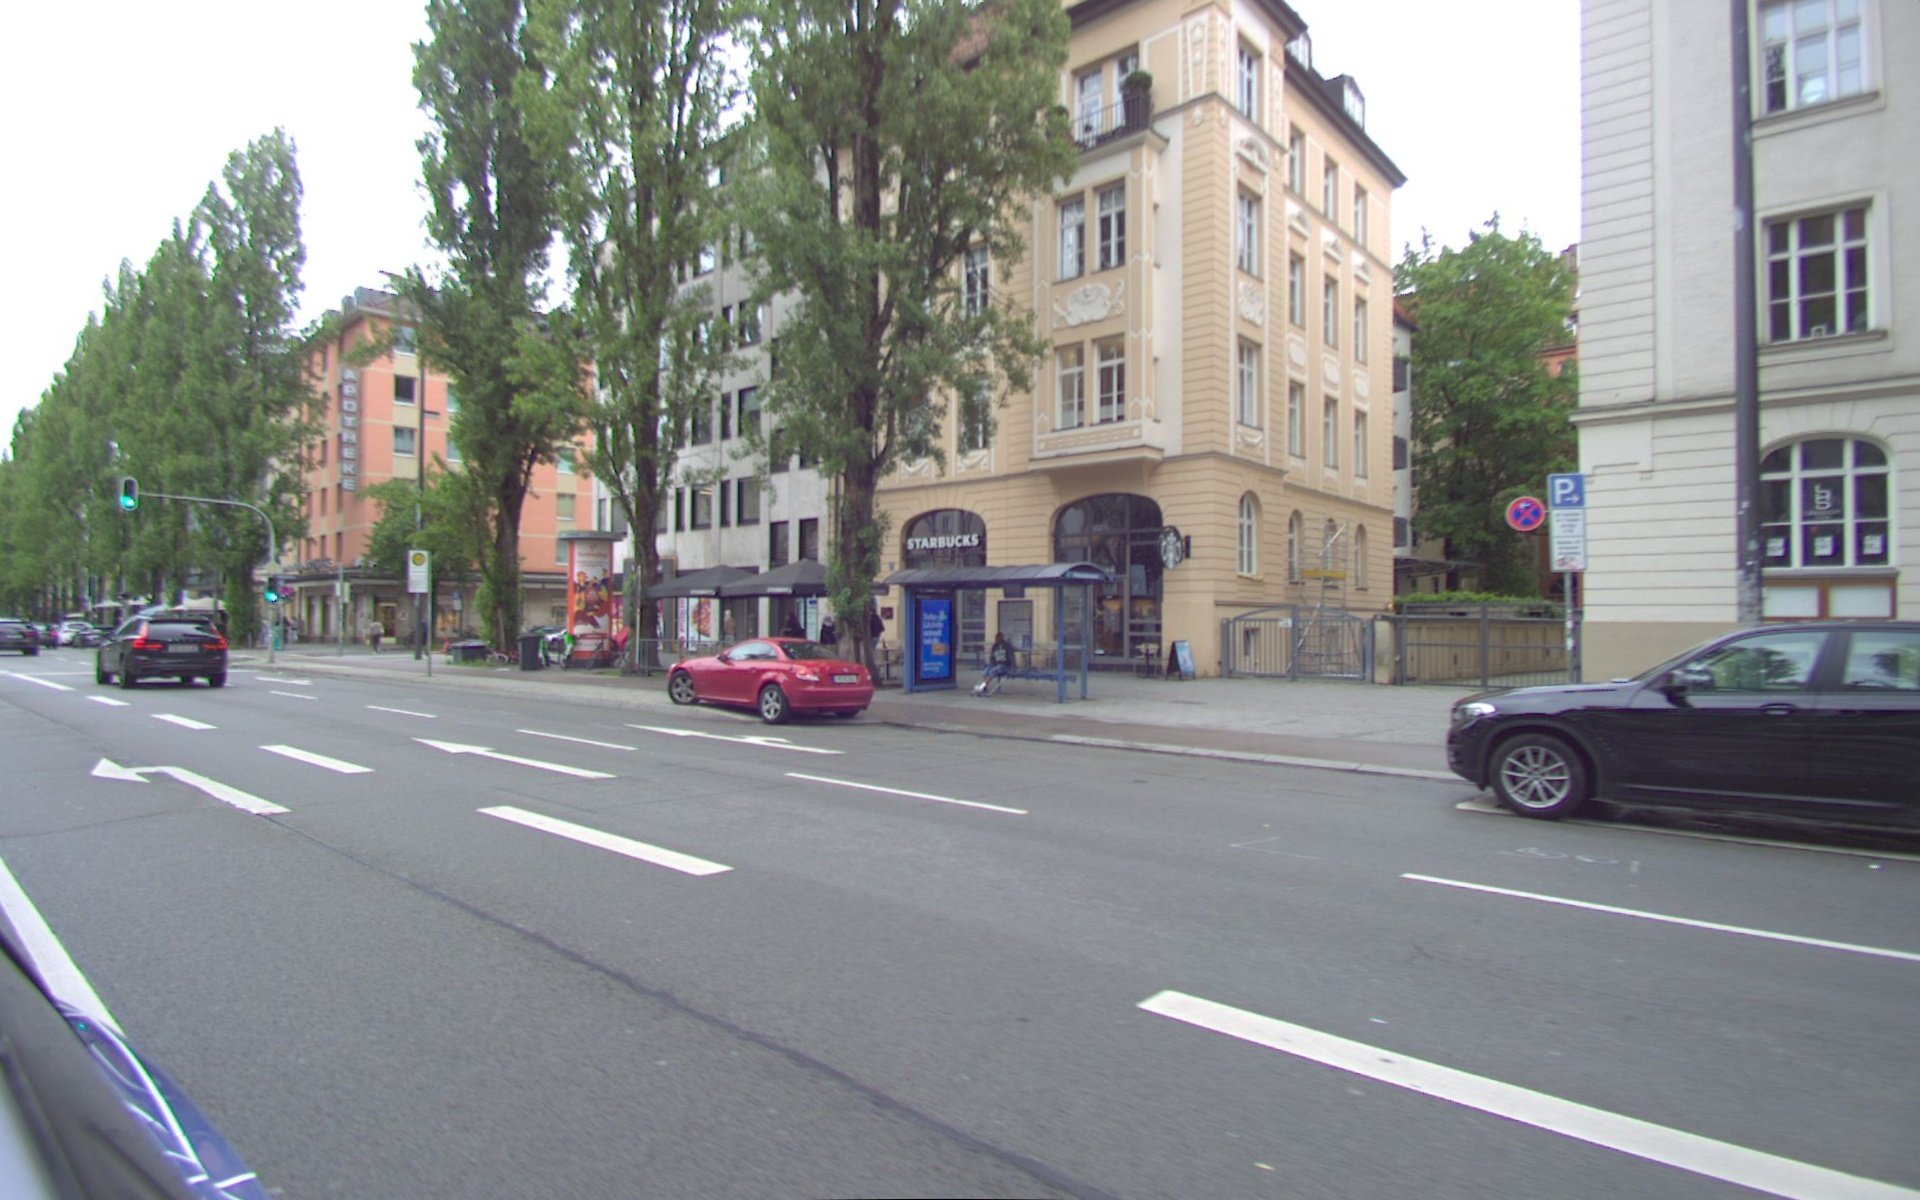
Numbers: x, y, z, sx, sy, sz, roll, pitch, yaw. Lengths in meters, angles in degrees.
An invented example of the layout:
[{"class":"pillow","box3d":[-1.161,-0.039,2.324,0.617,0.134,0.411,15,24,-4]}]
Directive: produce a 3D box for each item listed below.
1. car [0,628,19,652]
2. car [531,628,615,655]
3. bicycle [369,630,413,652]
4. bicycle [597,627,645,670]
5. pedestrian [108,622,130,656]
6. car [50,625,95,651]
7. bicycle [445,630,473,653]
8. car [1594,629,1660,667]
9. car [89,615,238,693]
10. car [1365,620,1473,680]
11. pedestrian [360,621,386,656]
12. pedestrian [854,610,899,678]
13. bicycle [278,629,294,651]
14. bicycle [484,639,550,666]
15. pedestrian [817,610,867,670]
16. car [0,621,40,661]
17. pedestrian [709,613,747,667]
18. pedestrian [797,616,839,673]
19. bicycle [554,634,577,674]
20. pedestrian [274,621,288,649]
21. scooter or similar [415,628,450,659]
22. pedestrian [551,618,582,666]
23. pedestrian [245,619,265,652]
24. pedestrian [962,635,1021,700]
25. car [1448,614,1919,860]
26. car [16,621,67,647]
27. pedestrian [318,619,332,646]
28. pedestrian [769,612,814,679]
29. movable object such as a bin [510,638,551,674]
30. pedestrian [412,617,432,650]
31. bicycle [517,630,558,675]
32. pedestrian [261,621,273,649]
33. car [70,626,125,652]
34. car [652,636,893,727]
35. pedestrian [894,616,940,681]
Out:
[{"class":"car","box3d":[-70.897,2.899,74.598,4.634,1.729,1.817,-1,-3,42]},{"class":"car","box3d":[-21.300,2.243,55.761,3.937,1.431,1.785,1,-2,-40]},{"class":"bicycle","box3d":[-31.814,2.279,56.610,0.690,1.193,2.033,-2,-2,44]},{"class":"bicycle","box3d":[-10.617,1.496,31.752,0.579,1.311,1.948,0,-2,10]},{"class":"pedestrian","box3d":[-45.478,2.081,54.733,0.725,1.809,0.995,-1,0,-30]},{"class":"car","box3d":[-57.188,2.429,65.189,4.095,1.595,1.685,-1,-2,42]},{"class":"bicycle","box3d":[-26.924,2.221,54.395,2.058,1.193,0.411,-1,-2,35]},{"class":"car","box3d":[27.336,1.931,41.450,1.720,1.429,3.694,-1,-2,42]},{"class":"car","box3d":[-18.552,1.214,23.505,4.334,1.636,1.915,-1,-4,41]},{"class":"car","box3d":[12.918,1.353,28.399,1.720,1.586,3.694,-1,-2,42]},{"class":"pedestrian","box3d":[-27.037,1.766,46.628,0.934,1.631,0.770,-2,-2,41]},{"class":"pedestrian","box3d":[-2.207,1.156,26.784,0.895,1.757,0.821,1,-2,-43]},{"class":"bicycle","box3d":[-36.551,2.147,54.904,1.373,1.150,0.416,-1,-1,43]},{"class":"bicycle","box3d":[-14.867,1.760,34.028,0.827,0.514,1.939,22,9,21]},{"class":"pedestrian","box3d":[-3.487,1.164,29.999,0.988,1.697,1.071,-1,0,40]},{"class":"car","box3d":[-42.670,1.794,45.118,4.584,1.693,1.893,-1,-4,41]},{"class":"pedestrian","box3d":[-7.827,1.332,34.134,0.954,1.757,0.834,-1,0,42]},{"class":"pedestrian","box3d":[-4.092,1.270,29.199,0.989,1.579,0.742,-1,0,43]},{"class":"bicycle","box3d":[-11.767,1.582,30.140,0.499,1.096,1.815,-1,0,-25]},{"class":"pedestrian","box3d":[-41.946,2.176,62.490,0.519,1.701,0.623,-1,0,42]},{"class":"scooter or similar","box3d":[-23.205,1.891,44.555,1.341,1.349,0.439,1,-2,-28]},{"class":"pedestrian","box3d":[-14.703,1.538,37.772,0.941,1.753,0.719,-1,0,41]},{"class":"pedestrian","box3d":[-38.295,1.941,54.990,0.778,1.784,0.716,-2,-2,42]},{"class":"pedestrian","box3d":[0.646,1.354,20.654,0.757,1.266,0.950,-2,-1,43]},{"class":"car","box3d":[6.540,0.941,7.797,4.713,1.630,1.801,-1,-2,41]},{"class":"car","box3d":[-51.837,1.911,57.098,3.995,1.450,1.624,-1,-3,41]},{"class":"pedestrian","box3d":[-39.077,2.000,62.315,0.514,1.704,0.580,-1,-2,41]},{"class":"pedestrian","box3d":[-4.549,1.220,27.288,0.895,1.757,0.821,2,-3,-43]},{"class":"movable object such as a bin","box3d":[-12.687,1.648,29.892,0.847,1.049,0.722,-1,0,13]},{"class":"pedestrian","box3d":[-29.360,1.800,55.220,0.692,1.780,0.770,-2,-2,41]},{"class":"bicycle","box3d":[-13.327,1.636,31.943,0.501,1.299,1.955,-1,0,-1]},{"class":"pedestrian","box3d":[-42.344,2.119,61.819,0.626,1.683,0.501,-2,-1,43]},{"class":"car","box3d":[-51.278,2.329,60.149,4.586,1.449,1.686,-1,-3,40]},{"class":"car","box3d":[-3.230,1.281,17.051,4.092,1.308,1.859,-1,-2,41]},{"class":"pedestrian","box3d":[-1.164,1.288,27.280,0.977,1.694,0.724,-2,-1,41]}]
